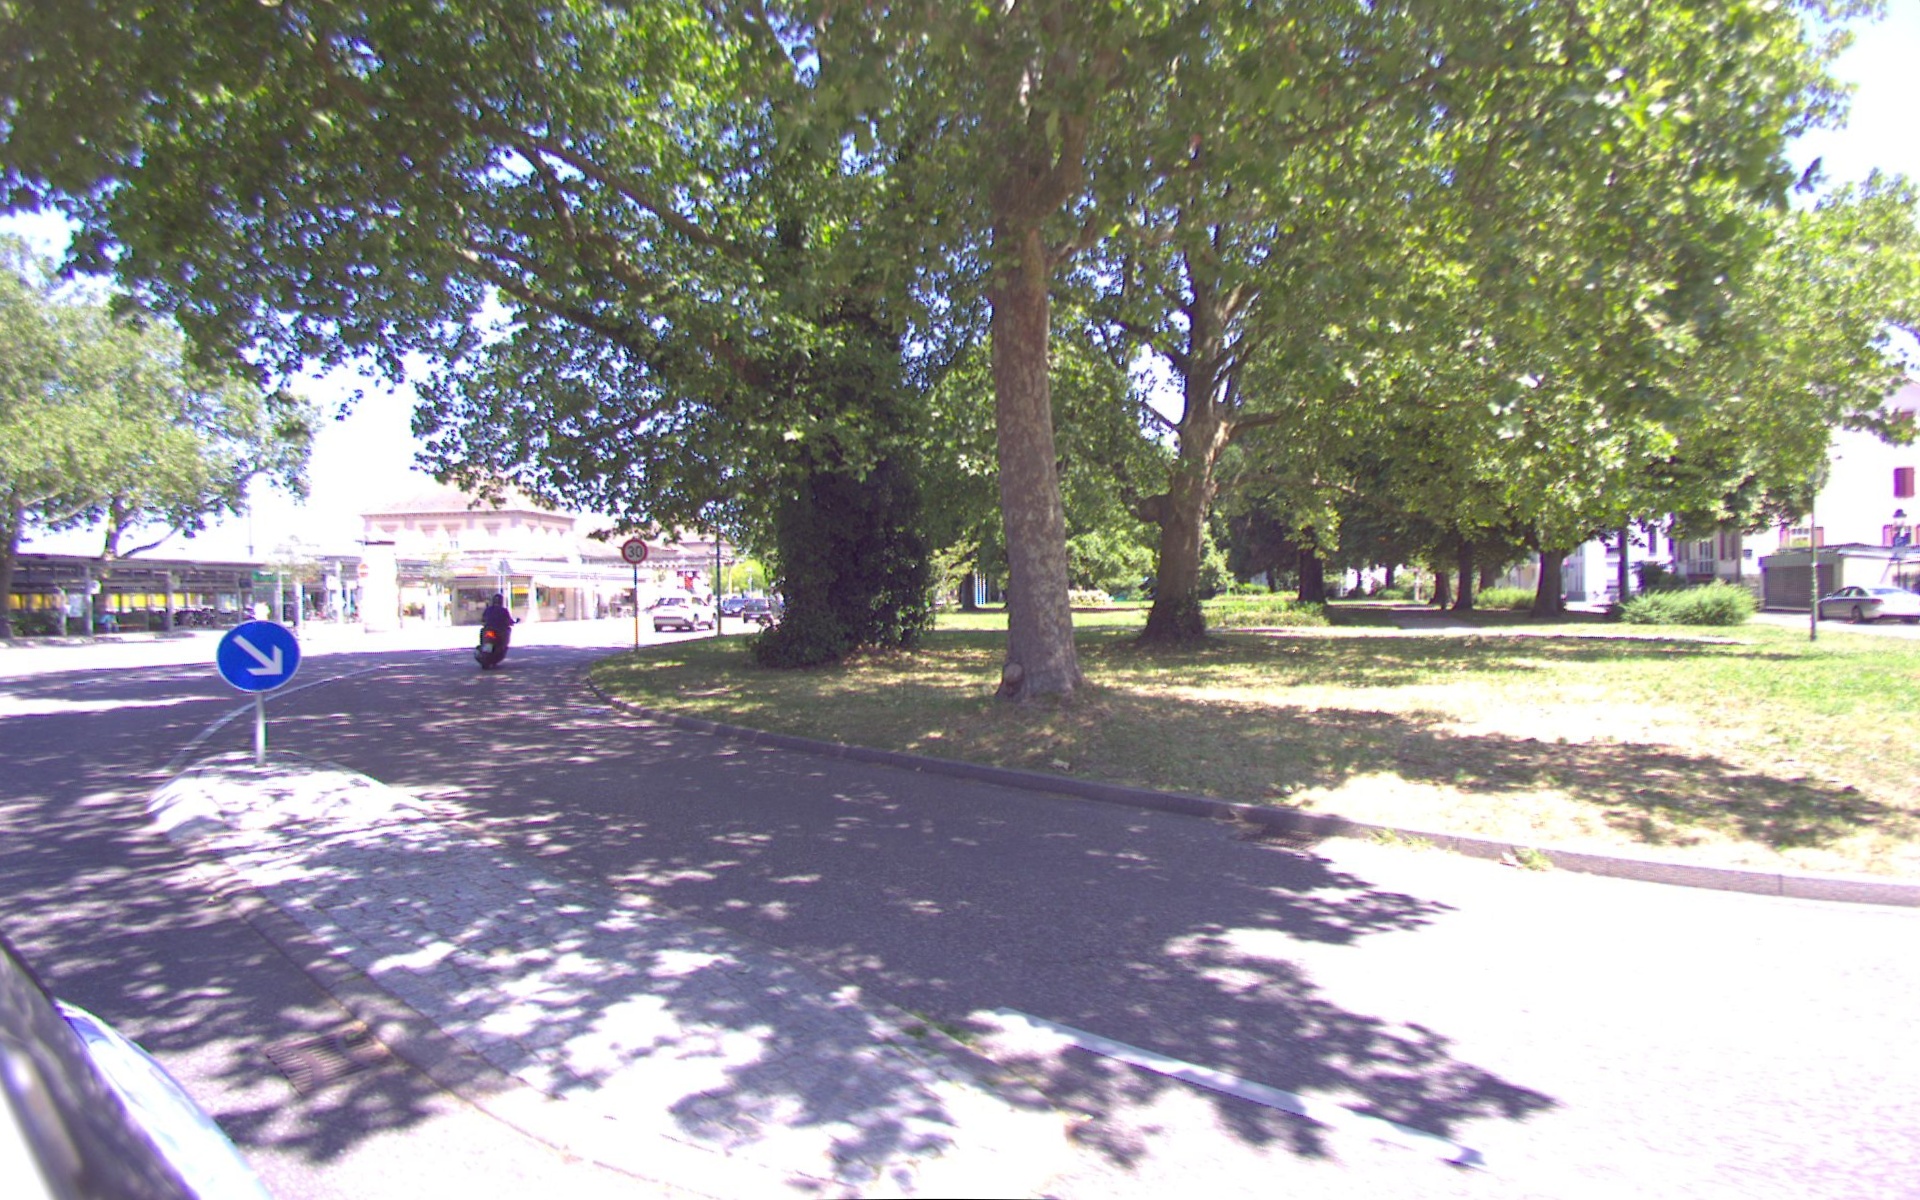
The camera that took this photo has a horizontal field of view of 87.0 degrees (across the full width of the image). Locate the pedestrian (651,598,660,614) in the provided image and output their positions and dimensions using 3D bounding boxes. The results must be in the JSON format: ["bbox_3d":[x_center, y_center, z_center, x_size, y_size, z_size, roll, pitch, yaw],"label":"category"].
[{"bbox_3d":[-23.375,0.457,77.720,0.497,1.241,0.513,-1,0,-1],"label":"pedestrian"}]

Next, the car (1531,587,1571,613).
[{"bbox_3d":[43.683,-0.009,74.882,1.988,1.792,4.470,-1,0,24],"label":"car"}]

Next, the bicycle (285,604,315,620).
[{"bbox_3d":[-50.906,0.918,78.069,0.663,1.081,2.165,1,4,8],"label":"bicycle"}]

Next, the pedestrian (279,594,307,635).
[{"bbox_3d":[-29.886,0.648,45.353,0.901,1.798,0.695,-2,0,-43],"label":"pedestrian"}]

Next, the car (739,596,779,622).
[{"bbox_3d":[-11.451,0.506,57.825,1.622,1.428,4.001,0,0,-2],"label":"car"}]

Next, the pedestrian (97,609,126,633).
[{"bbox_3d":[-46.363,1.143,55.294,0.819,1.284,0.868,-1,0,2],"label":"pedestrian"}]

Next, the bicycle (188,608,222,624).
[{"bbox_3d":[-54.099,1.142,72.520,2.145,1.081,0.668,1,4,10],"label":"bicycle"}]

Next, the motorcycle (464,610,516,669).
[{"bbox_3d":[-10.592,0.863,22.874,0.796,1.241,2.057,-1,0,-17],"label":"motorcycle"}]

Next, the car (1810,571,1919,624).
[{"bbox_3d":[33.733,-0.124,37.278,1.982,1.792,4.484,-1,0,15],"label":"car"}]

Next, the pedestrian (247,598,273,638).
[{"bbox_3d":[-30.828,0.780,44.569,0.900,1.749,0.677,-2,0,-37],"label":"pedestrian"}]

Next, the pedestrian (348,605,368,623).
[{"bbox_3d":[-44.790,1.023,75.331,0.951,1.315,0.829,-1,0,6],"label":"pedestrian"}]

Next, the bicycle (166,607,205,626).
[{"bbox_3d":[-51.985,1.083,67.956,0.663,1.081,2.165,1,4,8],"label":"bicycle"}]

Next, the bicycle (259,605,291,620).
[{"bbox_3d":[-52.552,0.954,77.632,2.145,1.081,0.668,1,4,10],"label":"bicycle"}]

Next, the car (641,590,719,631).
[{"bbox_3d":[-12.651,0.496,45.966,2.024,1.760,4.316,0,-1,6],"label":"car"}]

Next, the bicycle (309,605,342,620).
[{"bbox_3d":[-47.585,0.948,75.924,2.145,1.081,0.668,1,4,10],"label":"bicycle"}]

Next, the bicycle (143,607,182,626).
[{"bbox_3d":[-53.647,1.093,68.129,0.663,1.081,2.165,1,4,8],"label":"bicycle"}]

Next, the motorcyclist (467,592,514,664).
[{"bbox_3d":[-10.600,0.623,22.889,0.796,1.567,1.108,-1,0,-17],"label":"motorcyclist"}]

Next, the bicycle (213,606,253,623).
[{"bbox_3d":[-51.821,1.030,72.126,2.134,1.081,0.866,-1,4,-12],"label":"bicycle"}]

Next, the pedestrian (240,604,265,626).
[{"bbox_3d":[-45.589,0.970,65.210,0.951,1.396,0.829,-1,0,6],"label":"pedestrian"}]

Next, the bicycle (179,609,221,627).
[{"bbox_3d":[-48.200,1.135,64.198,2.141,1.081,0.670,0,4,3],"label":"bicycle"}]

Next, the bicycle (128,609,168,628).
[{"bbox_3d":[-54.814,1.229,68.341,0.663,1.081,2.165,1,4,8],"label":"bicycle"}]

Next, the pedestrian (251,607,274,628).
[{"bbox_3d":[-45.566,1.142,66.112,0.951,1.315,0.829,-1,0,6],"label":"pedestrian"}]

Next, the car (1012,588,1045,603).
[{"bbox_3d":[8.627,-0.530,127.577,3.953,1.817,1.995,-1,0,8],"label":"car"}]

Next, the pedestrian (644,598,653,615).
[{"bbox_3d":[-23.831,0.494,77.489,0.485,1.220,0.470,-1,0,11],"label":"pedestrian"}]

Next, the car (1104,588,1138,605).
[{"bbox_3d":[19.983,-0.450,125.948,3.950,2.029,1.997,-1,0,5],"label":"car"}]

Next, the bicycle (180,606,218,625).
[{"bbox_3d":[-50.945,1.009,67.769,0.663,1.081,2.165,1,4,8],"label":"bicycle"}]

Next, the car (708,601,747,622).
[{"bbox_3d":[-18.020,0.877,78.538,1.757,1.556,4.176,1,1,5],"label":"car"}]

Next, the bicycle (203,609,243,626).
[{"bbox_3d":[-48.001,1.148,65.962,2.141,1.081,0.670,0,4,3],"label":"bicycle"}]

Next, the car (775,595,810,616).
[{"bbox_3d":[-13.229,0.411,80.048,1.757,1.556,4.176,1,1,5],"label":"car"}]
